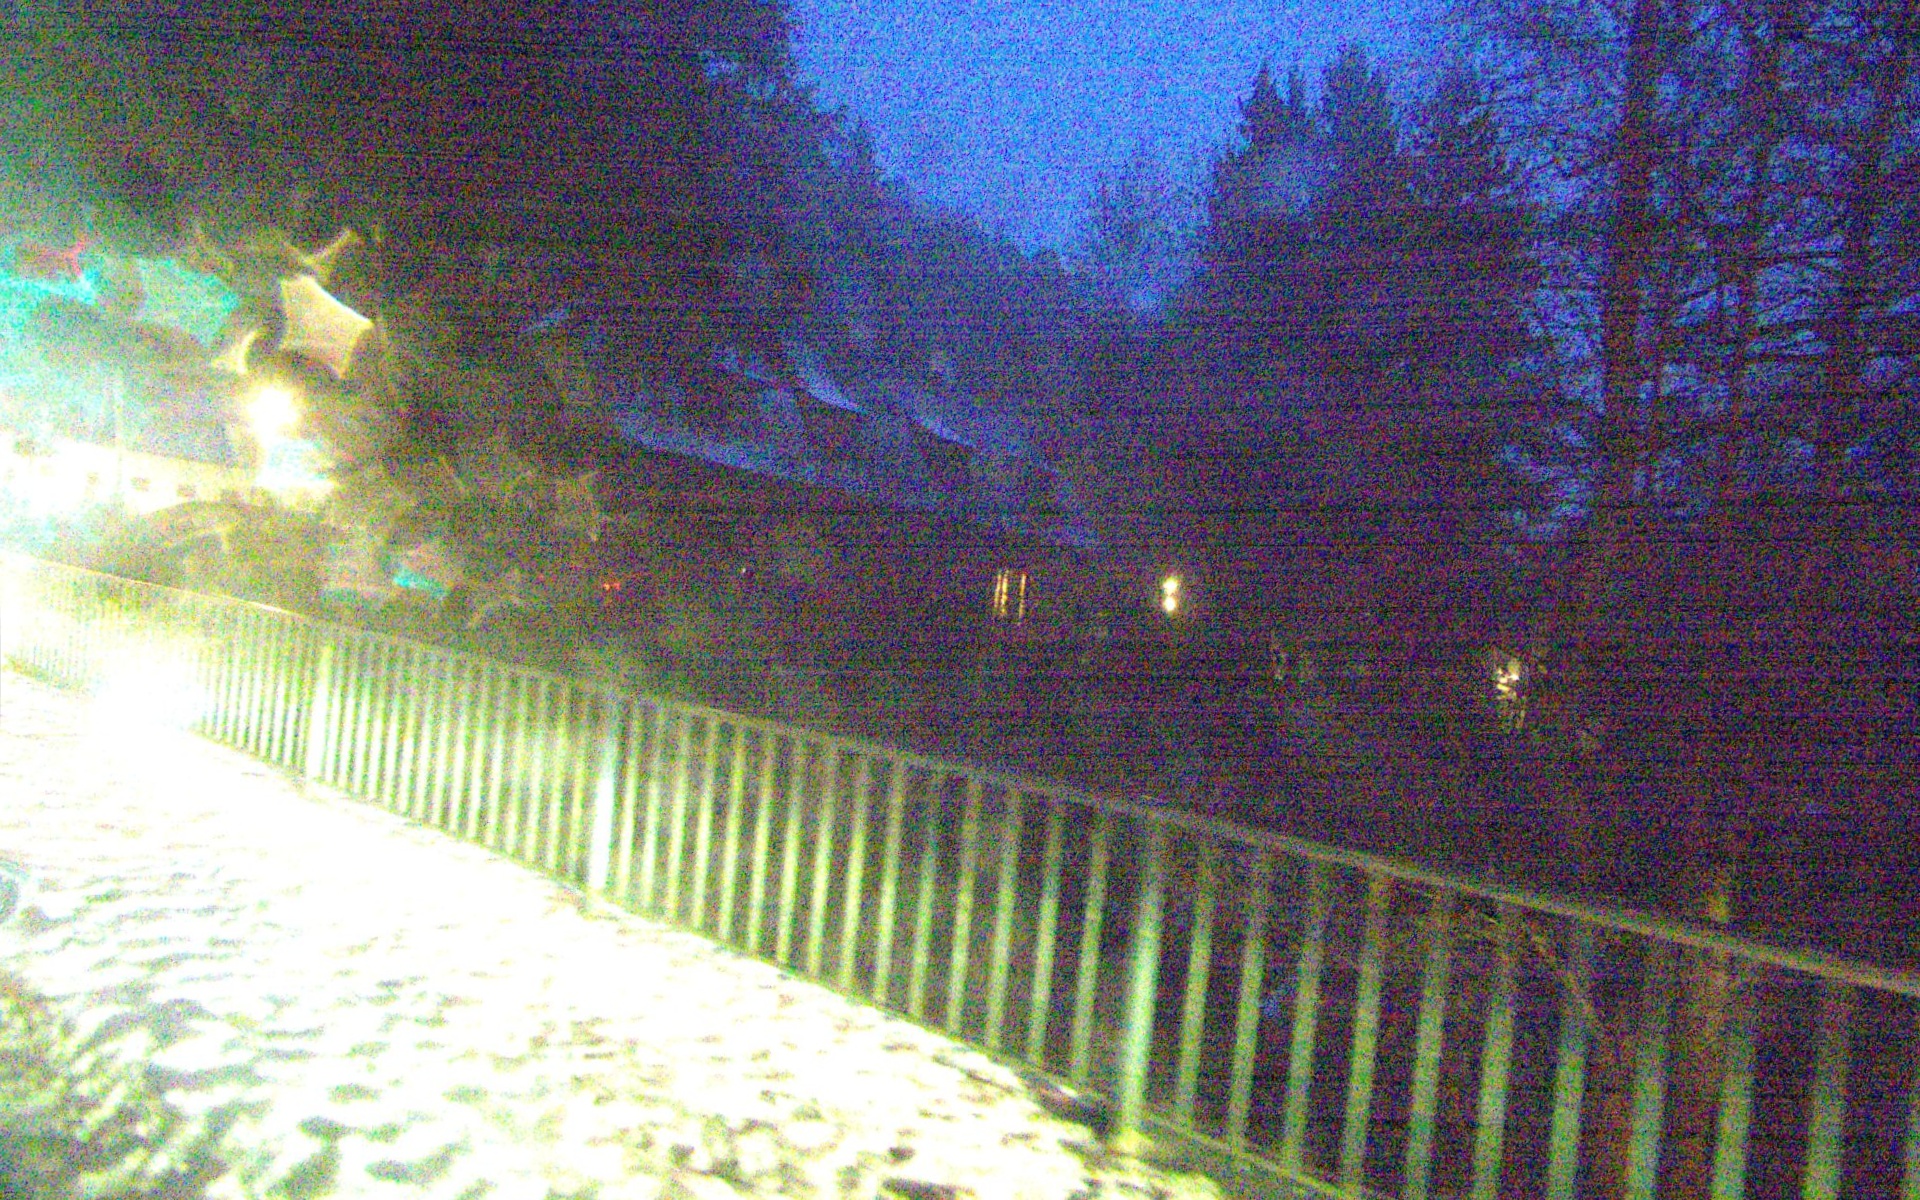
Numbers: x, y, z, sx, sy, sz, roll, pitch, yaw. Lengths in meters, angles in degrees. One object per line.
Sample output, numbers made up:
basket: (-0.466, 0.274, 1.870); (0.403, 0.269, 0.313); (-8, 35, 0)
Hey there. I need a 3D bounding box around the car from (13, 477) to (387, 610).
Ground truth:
car: (-11.921, -0.835, 16.018); (1.913, 1.607, 4.455); (8, 2, 43)
